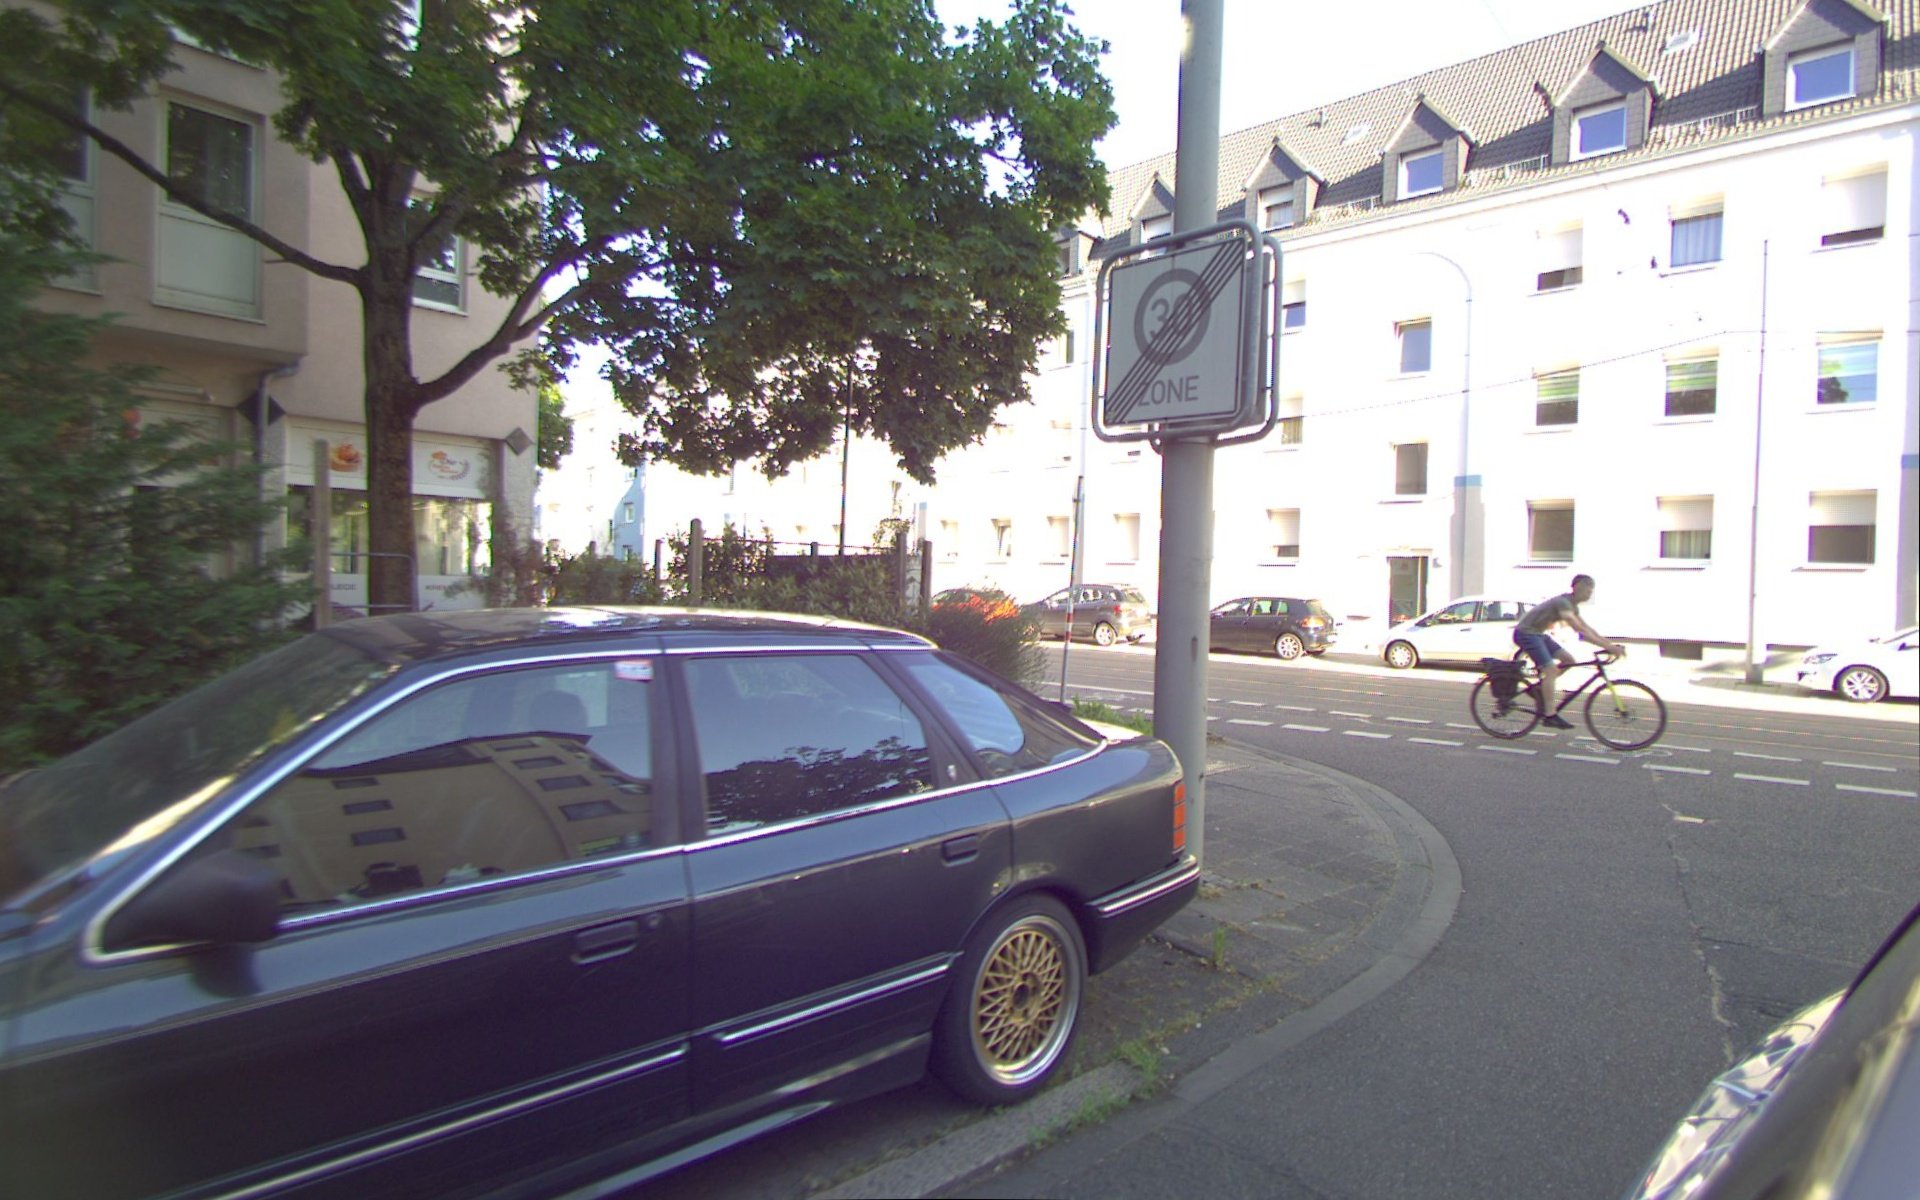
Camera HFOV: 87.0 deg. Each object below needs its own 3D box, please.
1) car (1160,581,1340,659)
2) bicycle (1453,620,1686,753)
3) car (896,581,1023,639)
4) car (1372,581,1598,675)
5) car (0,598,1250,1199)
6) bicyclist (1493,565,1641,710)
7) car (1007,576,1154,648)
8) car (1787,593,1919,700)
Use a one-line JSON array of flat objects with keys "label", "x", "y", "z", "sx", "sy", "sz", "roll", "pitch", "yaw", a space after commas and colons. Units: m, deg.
[{"label": "car", "x": 7.086, "y": 0.428, "z": 24.910, "sx": 3.990, "sy": 1.555, "sz": 1.575, "roll": 3, "pitch": 6, "yaw": 41}, {"label": "bicycle", "x": 6.210, "y": 0.829, "z": 10.397, "sx": 1.953, "sy": 1.115, "sz": 0.615, "roll": 3, "pitch": 4, "yaw": 42}, {"label": "car", "x": -0.046, "y": 0.248, "z": 31.552, "sx": 3.766, "sy": 1.501, "sz": 1.775, "roll": 3, "pitch": 6, "yaw": 43}, {"label": "car", "x": 10.981, "y": 0.501, "z": 21.335, "sx": 3.892, "sy": 1.589, "sz": 1.733, "roll": 4, "pitch": 5, "yaw": 44}, {"label": "car", "x": -1.223, "y": 0.728, "z": 2.699, "sx": 4.491, "sy": 1.405, "sz": 1.711, "roll": 0, "pitch": 2, "yaw": -42}, {"label": "bicyclist", "x": 6.191, "y": 0.339, "z": 10.312, "sx": 1.090, "sy": 1.347, "sz": 1.170, "roll": 3, "pitch": 2, "yaw": 40}, {"label": "car", "x": 3.322, "y": 0.260, "z": 28.361, "sx": 3.891, "sy": 1.689, "sz": 1.641, "roll": 3, "pitch": 6, "yaw": 43}, {"label": "car", "x": 16.319, "y": 0.801, "z": 16.341, "sx": 4.493, "sy": 1.590, "sz": 1.660, "roll": 4, "pitch": 4, "yaw": 42}]
